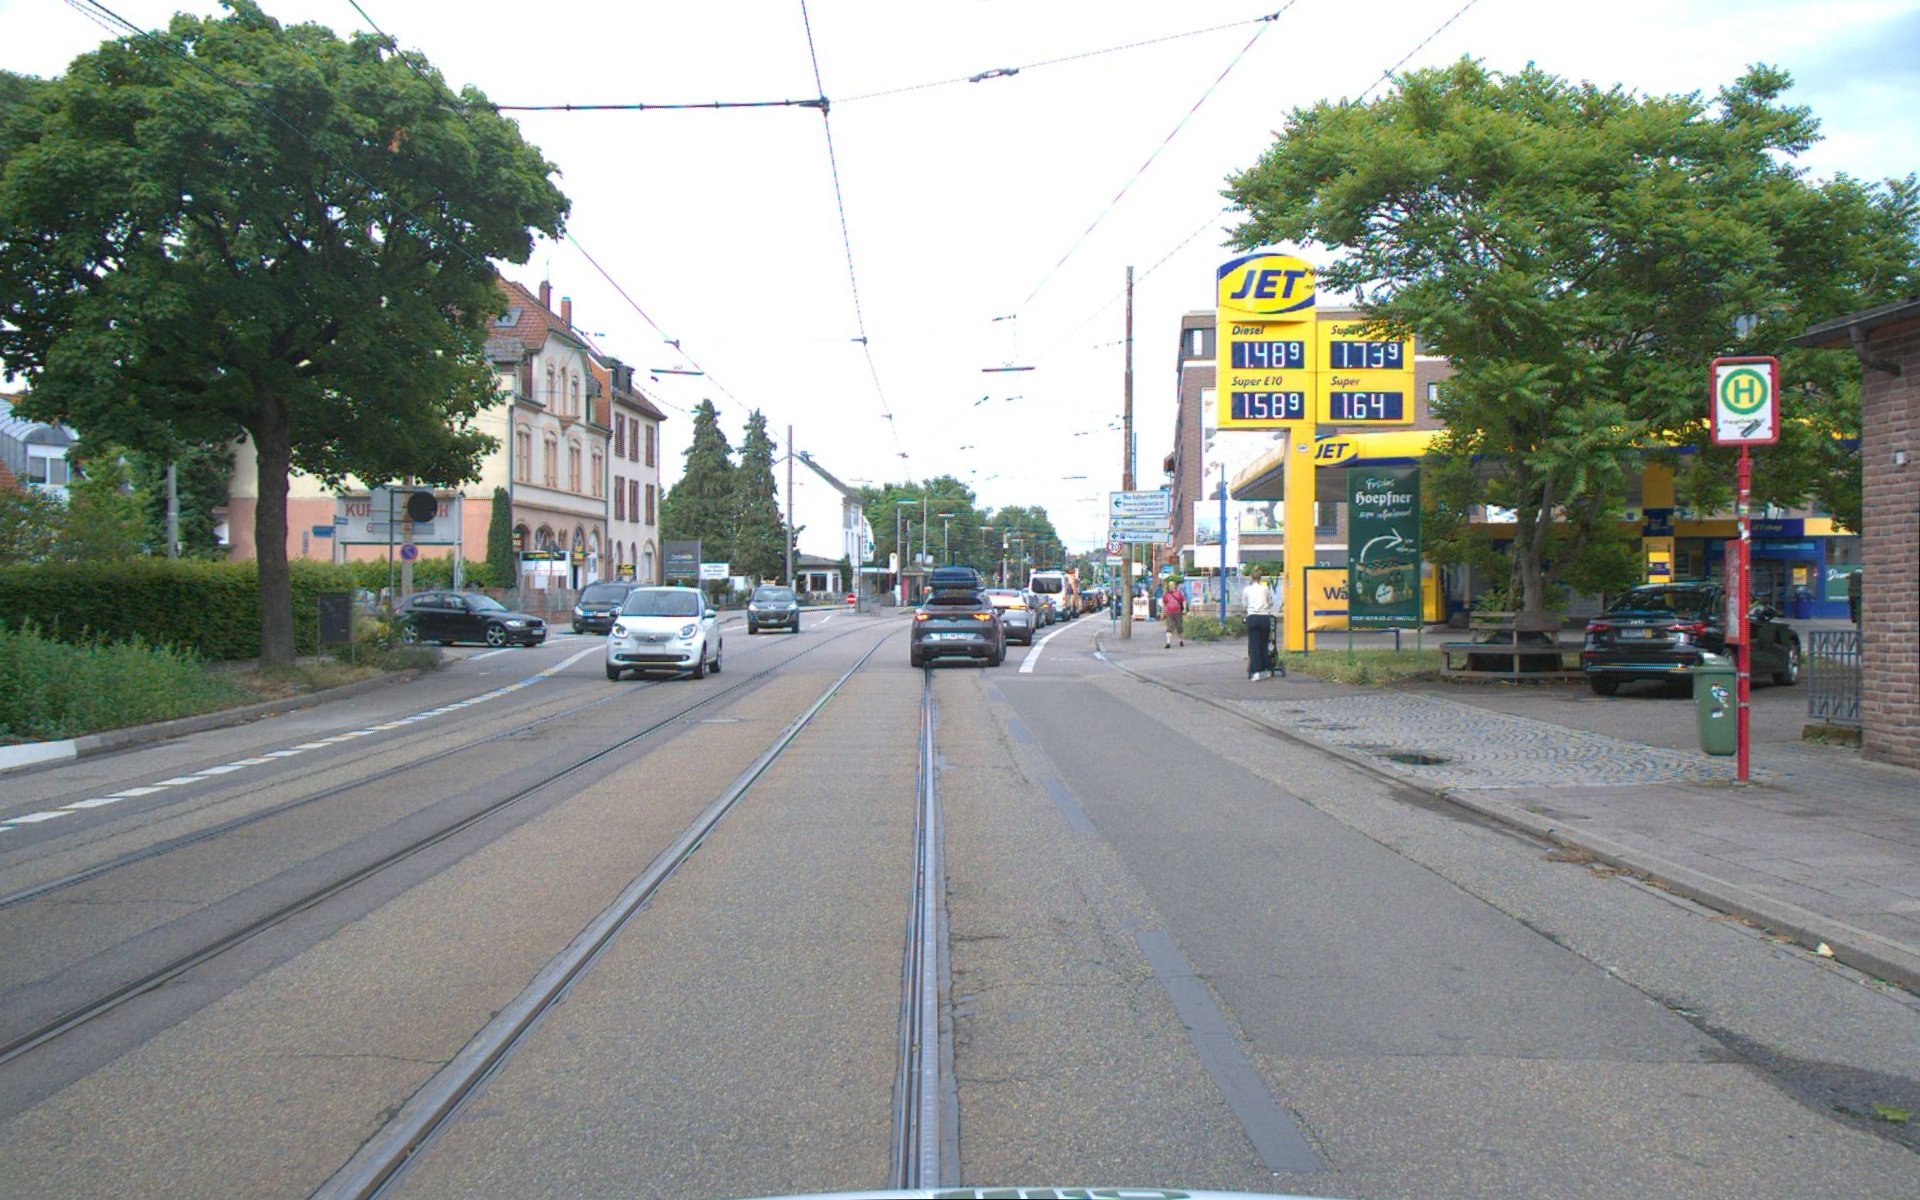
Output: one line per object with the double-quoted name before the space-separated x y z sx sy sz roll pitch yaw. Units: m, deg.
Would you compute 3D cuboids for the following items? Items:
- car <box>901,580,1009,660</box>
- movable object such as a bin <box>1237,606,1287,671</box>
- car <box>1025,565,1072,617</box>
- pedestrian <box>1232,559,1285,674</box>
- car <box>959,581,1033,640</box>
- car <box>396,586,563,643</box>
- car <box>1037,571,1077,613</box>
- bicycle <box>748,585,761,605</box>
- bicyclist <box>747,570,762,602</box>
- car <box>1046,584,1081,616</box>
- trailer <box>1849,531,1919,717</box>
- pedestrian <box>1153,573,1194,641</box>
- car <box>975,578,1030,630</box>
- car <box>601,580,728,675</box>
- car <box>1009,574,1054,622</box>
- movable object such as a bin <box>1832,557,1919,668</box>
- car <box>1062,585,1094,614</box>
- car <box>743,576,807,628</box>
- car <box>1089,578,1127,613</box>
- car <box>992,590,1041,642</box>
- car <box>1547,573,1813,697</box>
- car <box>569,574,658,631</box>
"car" -0.033 0.401 34.112 1.948 1.523 4.328 0 0 3
"movable object such as a bin" 5.129 0.644 28.062 0.751 1.057 1.025 -2 0 13
"car" 4.408 -0.411 83.113 2.171 2.465 4.952 1 0 1
"pedestrian" 4.920 0.271 27.220 0.751 1.828 1.163 -2 0 13
"car" 0.984 0.282 47.633 1.941 1.577 4.182 2 0 -1
"car" -12.502 0.354 43.059 3.838 1.412 1.802 0 0 20
"car" 5.431 -0.425 92.649 2.095 2.183 4.745 1 0 2
"bicycle" -11.476 -0.263 92.499 0.576 1.092 1.952 -1 0 -11
"bicyclist" -11.483 -0.794 92.486 0.722 1.780 0.976 -1 0 -11
"car" 6.840 0.003 109.241 1.953 2.049 3.999 2 0 -1
"trailer" 9.640 0.207 14.259 3.097 1.566 1.621 0 0 0
"pedestrian" 5.722 0.185 44.305 0.951 1.769 0.861 -2 -1 2
"car" 1.547 0.145 60.922 1.928 1.787 3.838 2 0 1
"car" -5.143 0.457 29.193 1.669 1.556 3.740 1 0 -2
"car" 3.244 -0.069 75.246 1.952 2.049 4.001 1 0 2
"movable object such as a bin" 13.818 0.166 24.513 1.396 1.540 1.118 1 5 41
"car" 8.635 -0.019 121.364 1.953 2.049 3.999 2 0 -1
"car" -6.546 0.061 58.889 1.790 1.768 4.334 0 0 0
"car" 8.187 -0.233 91.507 1.835 1.855 4.097 1 0 2
"car" 2.359 0.657 69.285 1.952 2.049 4.000 1 0 1
"car" 9.730 0.396 22.155 1.901 1.432 4.556 0 1 42
"car" -12.397 0.092 59.562 1.950 1.920 4.999 1 0 2
